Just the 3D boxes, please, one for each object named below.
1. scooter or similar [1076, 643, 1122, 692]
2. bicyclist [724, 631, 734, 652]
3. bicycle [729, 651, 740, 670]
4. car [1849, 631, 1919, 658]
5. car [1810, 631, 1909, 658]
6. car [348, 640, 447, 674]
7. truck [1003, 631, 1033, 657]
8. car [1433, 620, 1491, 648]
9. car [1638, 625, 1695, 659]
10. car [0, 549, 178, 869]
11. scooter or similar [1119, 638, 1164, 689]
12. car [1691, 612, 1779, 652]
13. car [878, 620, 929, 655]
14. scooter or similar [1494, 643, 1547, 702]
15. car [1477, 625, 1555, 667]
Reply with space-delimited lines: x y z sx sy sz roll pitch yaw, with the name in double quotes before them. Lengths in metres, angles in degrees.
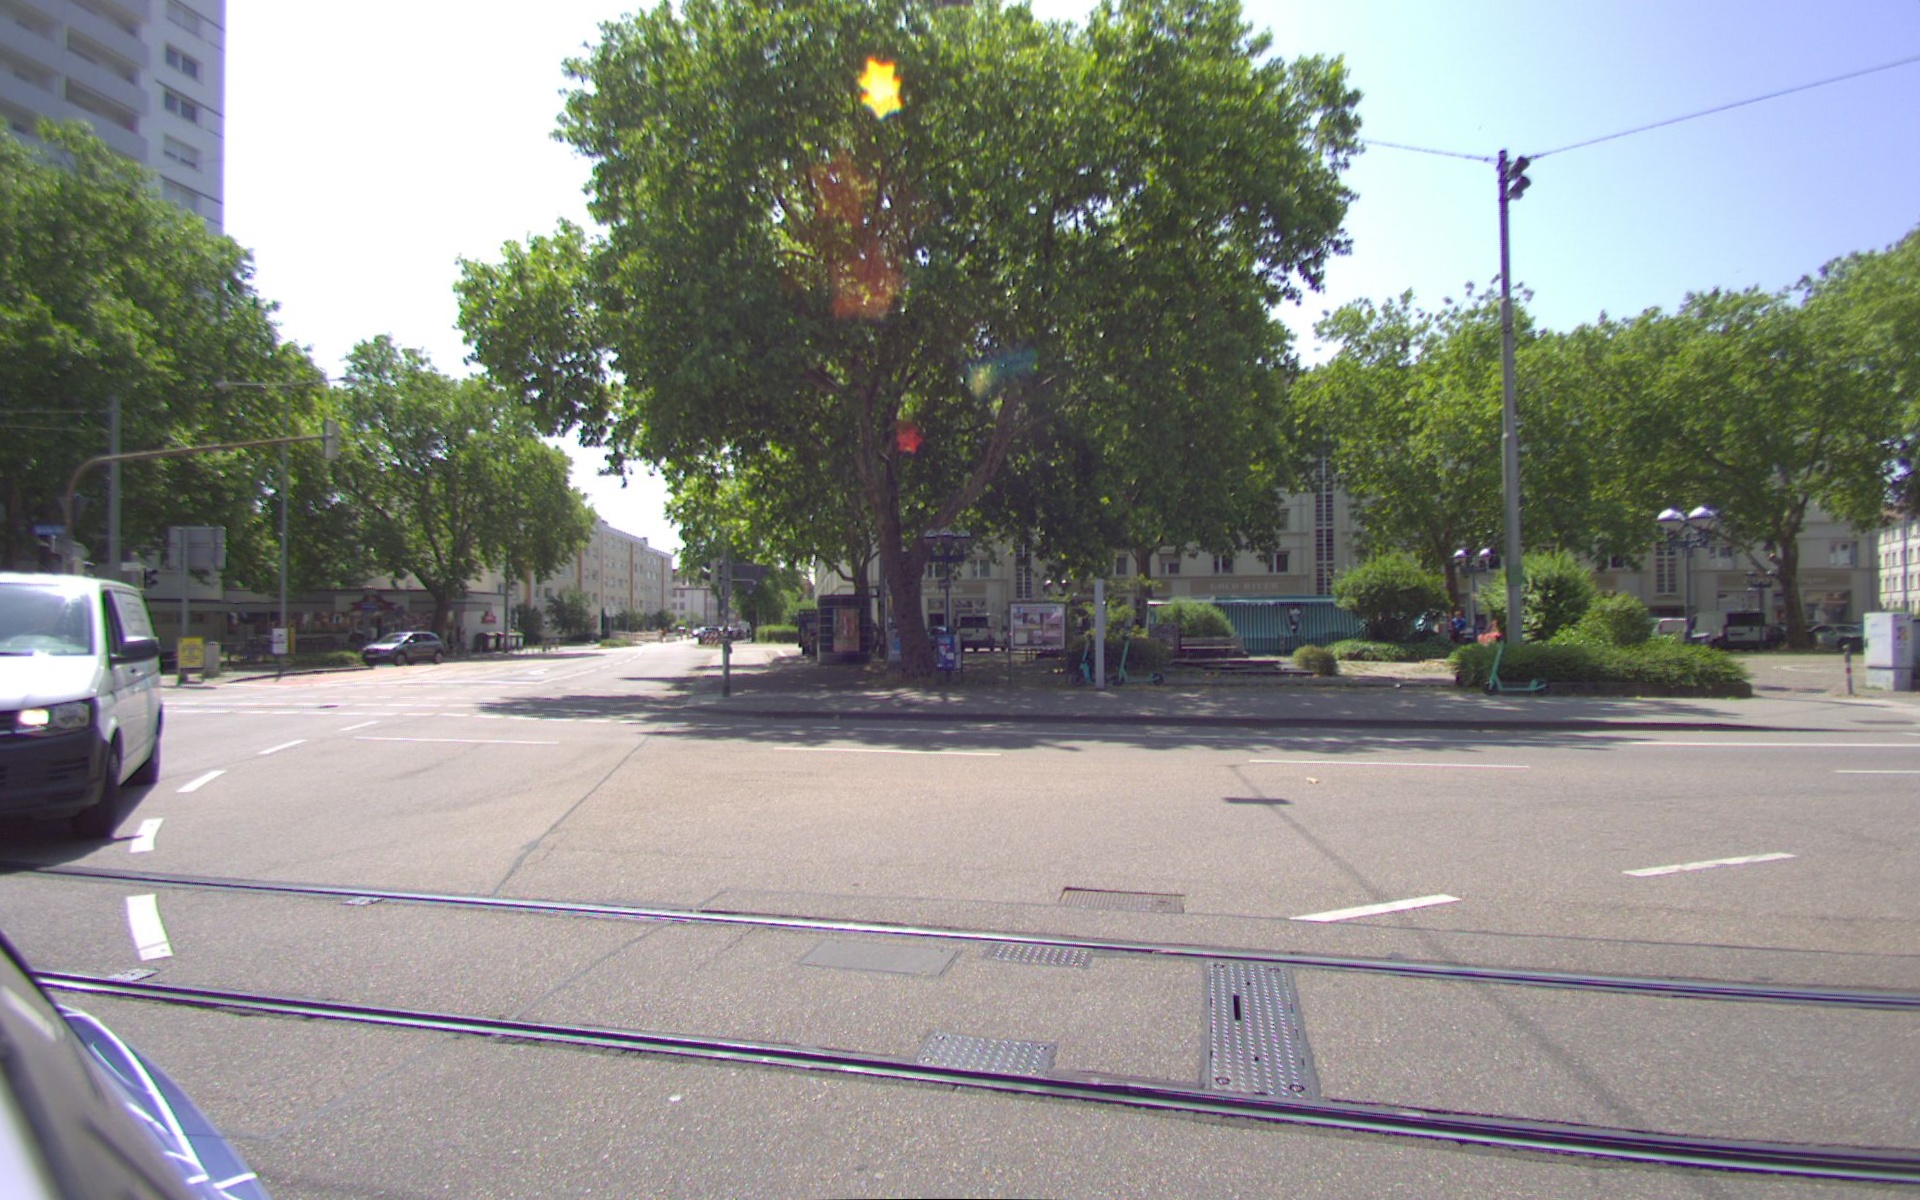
"scooter or similar" 3.264 1.582 23.765 1.030 1.129 0.255 -1 -2 24
"bicyclist" -19.744 3.565 86.639 0.695 1.748 0.788 0 -1 -3
"bicycle" -19.462 5.200 87.397 0.588 1.566 1.845 0 -1 -4
"car" 47.639 2.231 51.406 1.901 1.265 3.839 -1 -1 9
"car" 44.954 2.200 50.688 1.901 1.265 3.839 -1 -1 9
"car" -26.662 2.673 48.107 1.927 1.472 4.040 -1 -1 13
"truck" 3.419 2.570 59.300 1.453 1.388 2.973 -1 -1 10
"car" 20.643 1.371 41.700 1.342 1.106 2.731 -1 -1 9
"car" 43.595 2.567 62.535 1.559 1.964 3.908 -1 -1 15
"car" -7.680 0.734 8.057 1.822 1.968 4.957 1 -2 -32
"scooter or similar" 4.177 1.451 23.265 0.971 1.129 0.255 -1 -1 24
"car" 39.869 1.599 52.192 2.145 1.964 3.981 -1 -1 15
"car" -3.403 2.257 61.658 1.982 2.029 3.980 -1 -1 16
"scooter or similar" 10.945 1.411 19.774 0.855 1.129 0.255 -1 -1 24
"car" 20.062 1.643 36.666 1.457 1.394 3.333 -1 -1 10
